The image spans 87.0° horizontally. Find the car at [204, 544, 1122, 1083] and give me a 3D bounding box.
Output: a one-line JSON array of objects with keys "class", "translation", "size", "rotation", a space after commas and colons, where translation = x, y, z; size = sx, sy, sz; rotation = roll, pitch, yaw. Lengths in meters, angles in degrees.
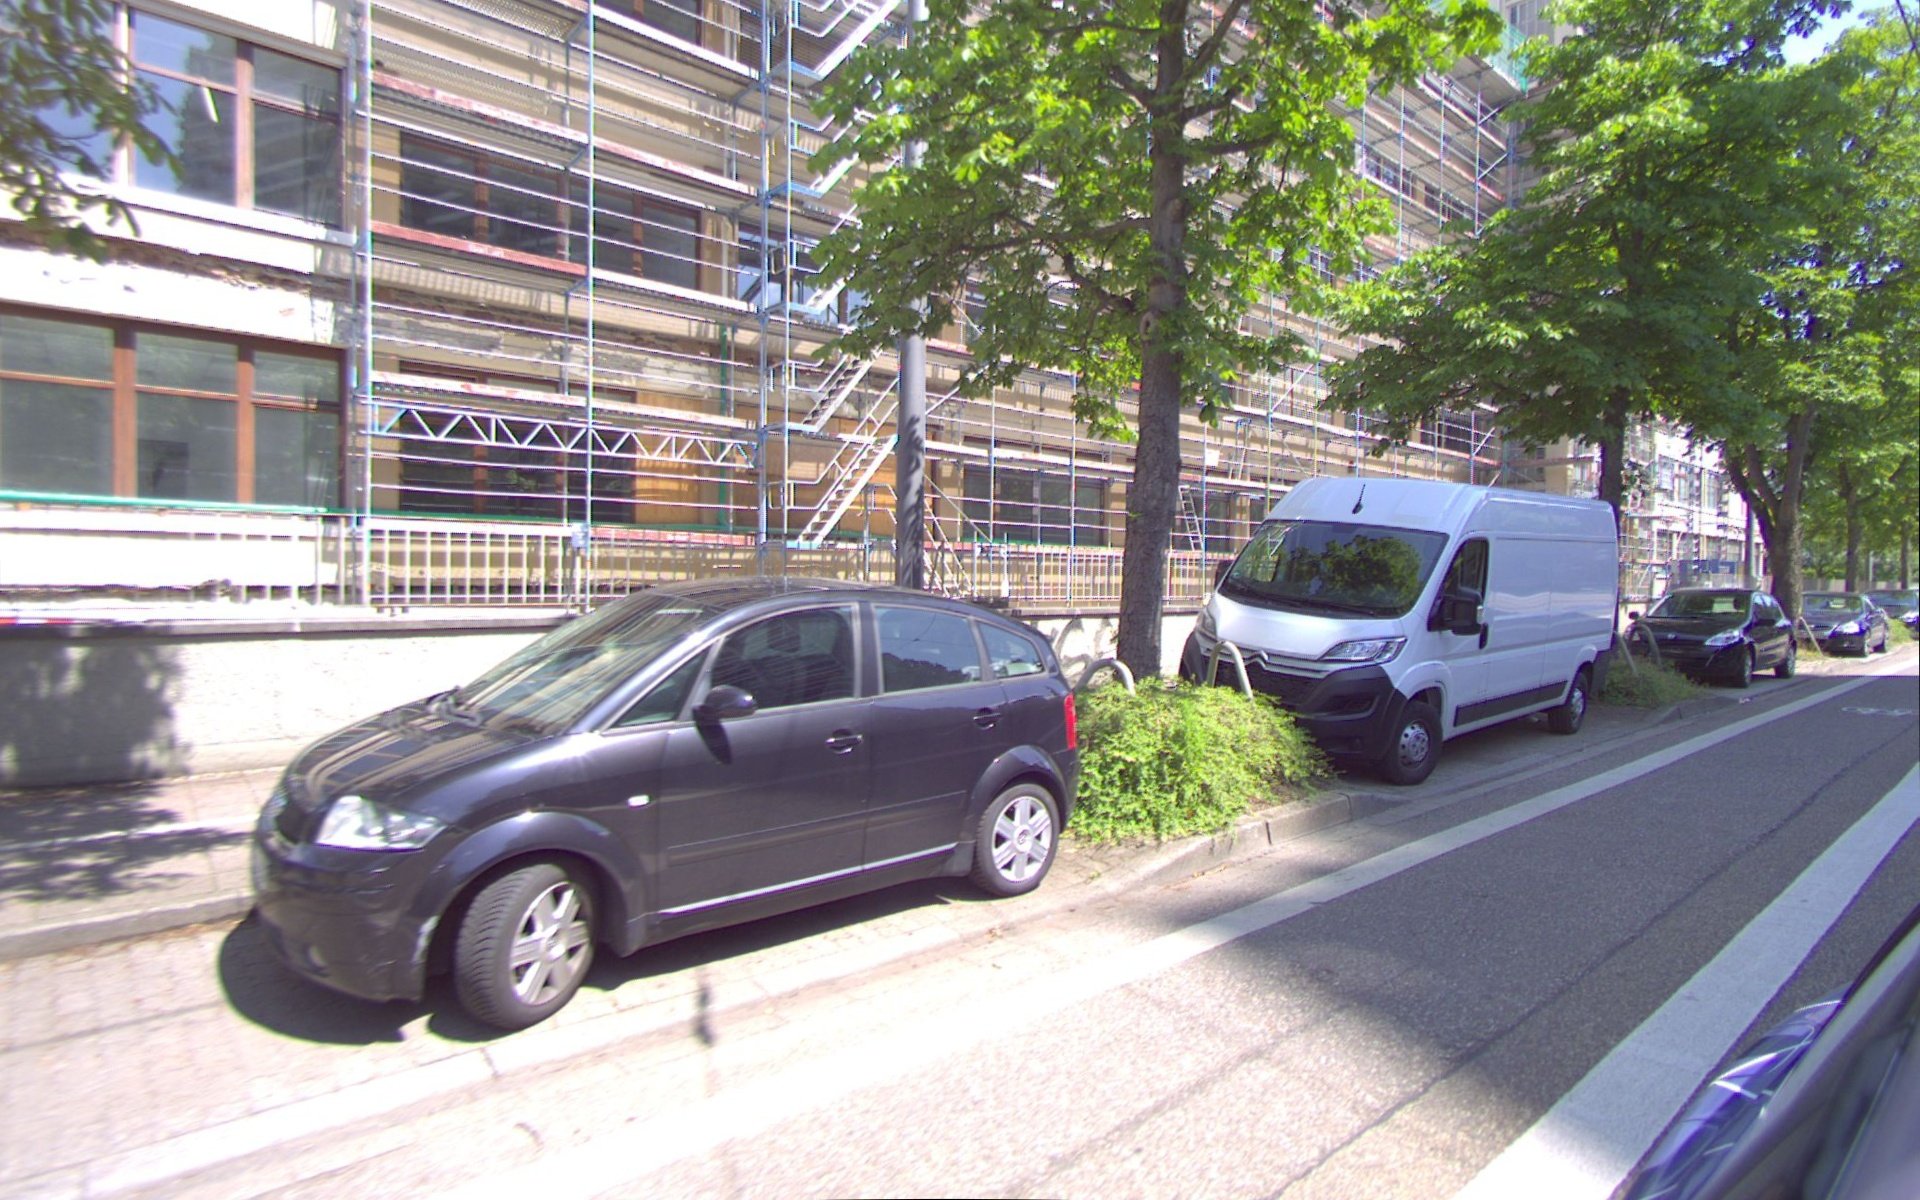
[{"class": "car", "translation": [-1.120, 0.581, 4.821], "size": [3.878, 1.553, 1.647], "rotation": [-1, 1, -41]}]

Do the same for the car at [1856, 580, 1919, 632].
[{"class": "car", "translation": [28.144, 0.149, 30.193], "size": [3.972, 1.456, 1.674], "rotation": [-1, 2, -42]}]

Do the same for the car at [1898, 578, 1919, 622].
[{"class": "car", "translation": [35.362, -0.011, 36.640], "size": [4.129, 1.536, 1.674], "rotation": [-1, 2, -42]}]

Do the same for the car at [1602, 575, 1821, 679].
[{"class": "car", "translation": [12.400, 0.357, 16.610], "size": [4.320, 1.490, 1.829], "rotation": [0, 1, -38]}]

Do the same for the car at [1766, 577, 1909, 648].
[{"class": "car", "translation": [20.501, 0.235, 23.589], "size": [4.406, 1.490, 1.828], "rotation": [-1, 1, -40]}]

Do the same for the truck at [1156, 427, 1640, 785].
[{"class": "truck", "translation": [4.532, -0.005, 9.822], "size": [5.853, 2.520, 2.018], "rotation": [-1, 1, -42]}]
